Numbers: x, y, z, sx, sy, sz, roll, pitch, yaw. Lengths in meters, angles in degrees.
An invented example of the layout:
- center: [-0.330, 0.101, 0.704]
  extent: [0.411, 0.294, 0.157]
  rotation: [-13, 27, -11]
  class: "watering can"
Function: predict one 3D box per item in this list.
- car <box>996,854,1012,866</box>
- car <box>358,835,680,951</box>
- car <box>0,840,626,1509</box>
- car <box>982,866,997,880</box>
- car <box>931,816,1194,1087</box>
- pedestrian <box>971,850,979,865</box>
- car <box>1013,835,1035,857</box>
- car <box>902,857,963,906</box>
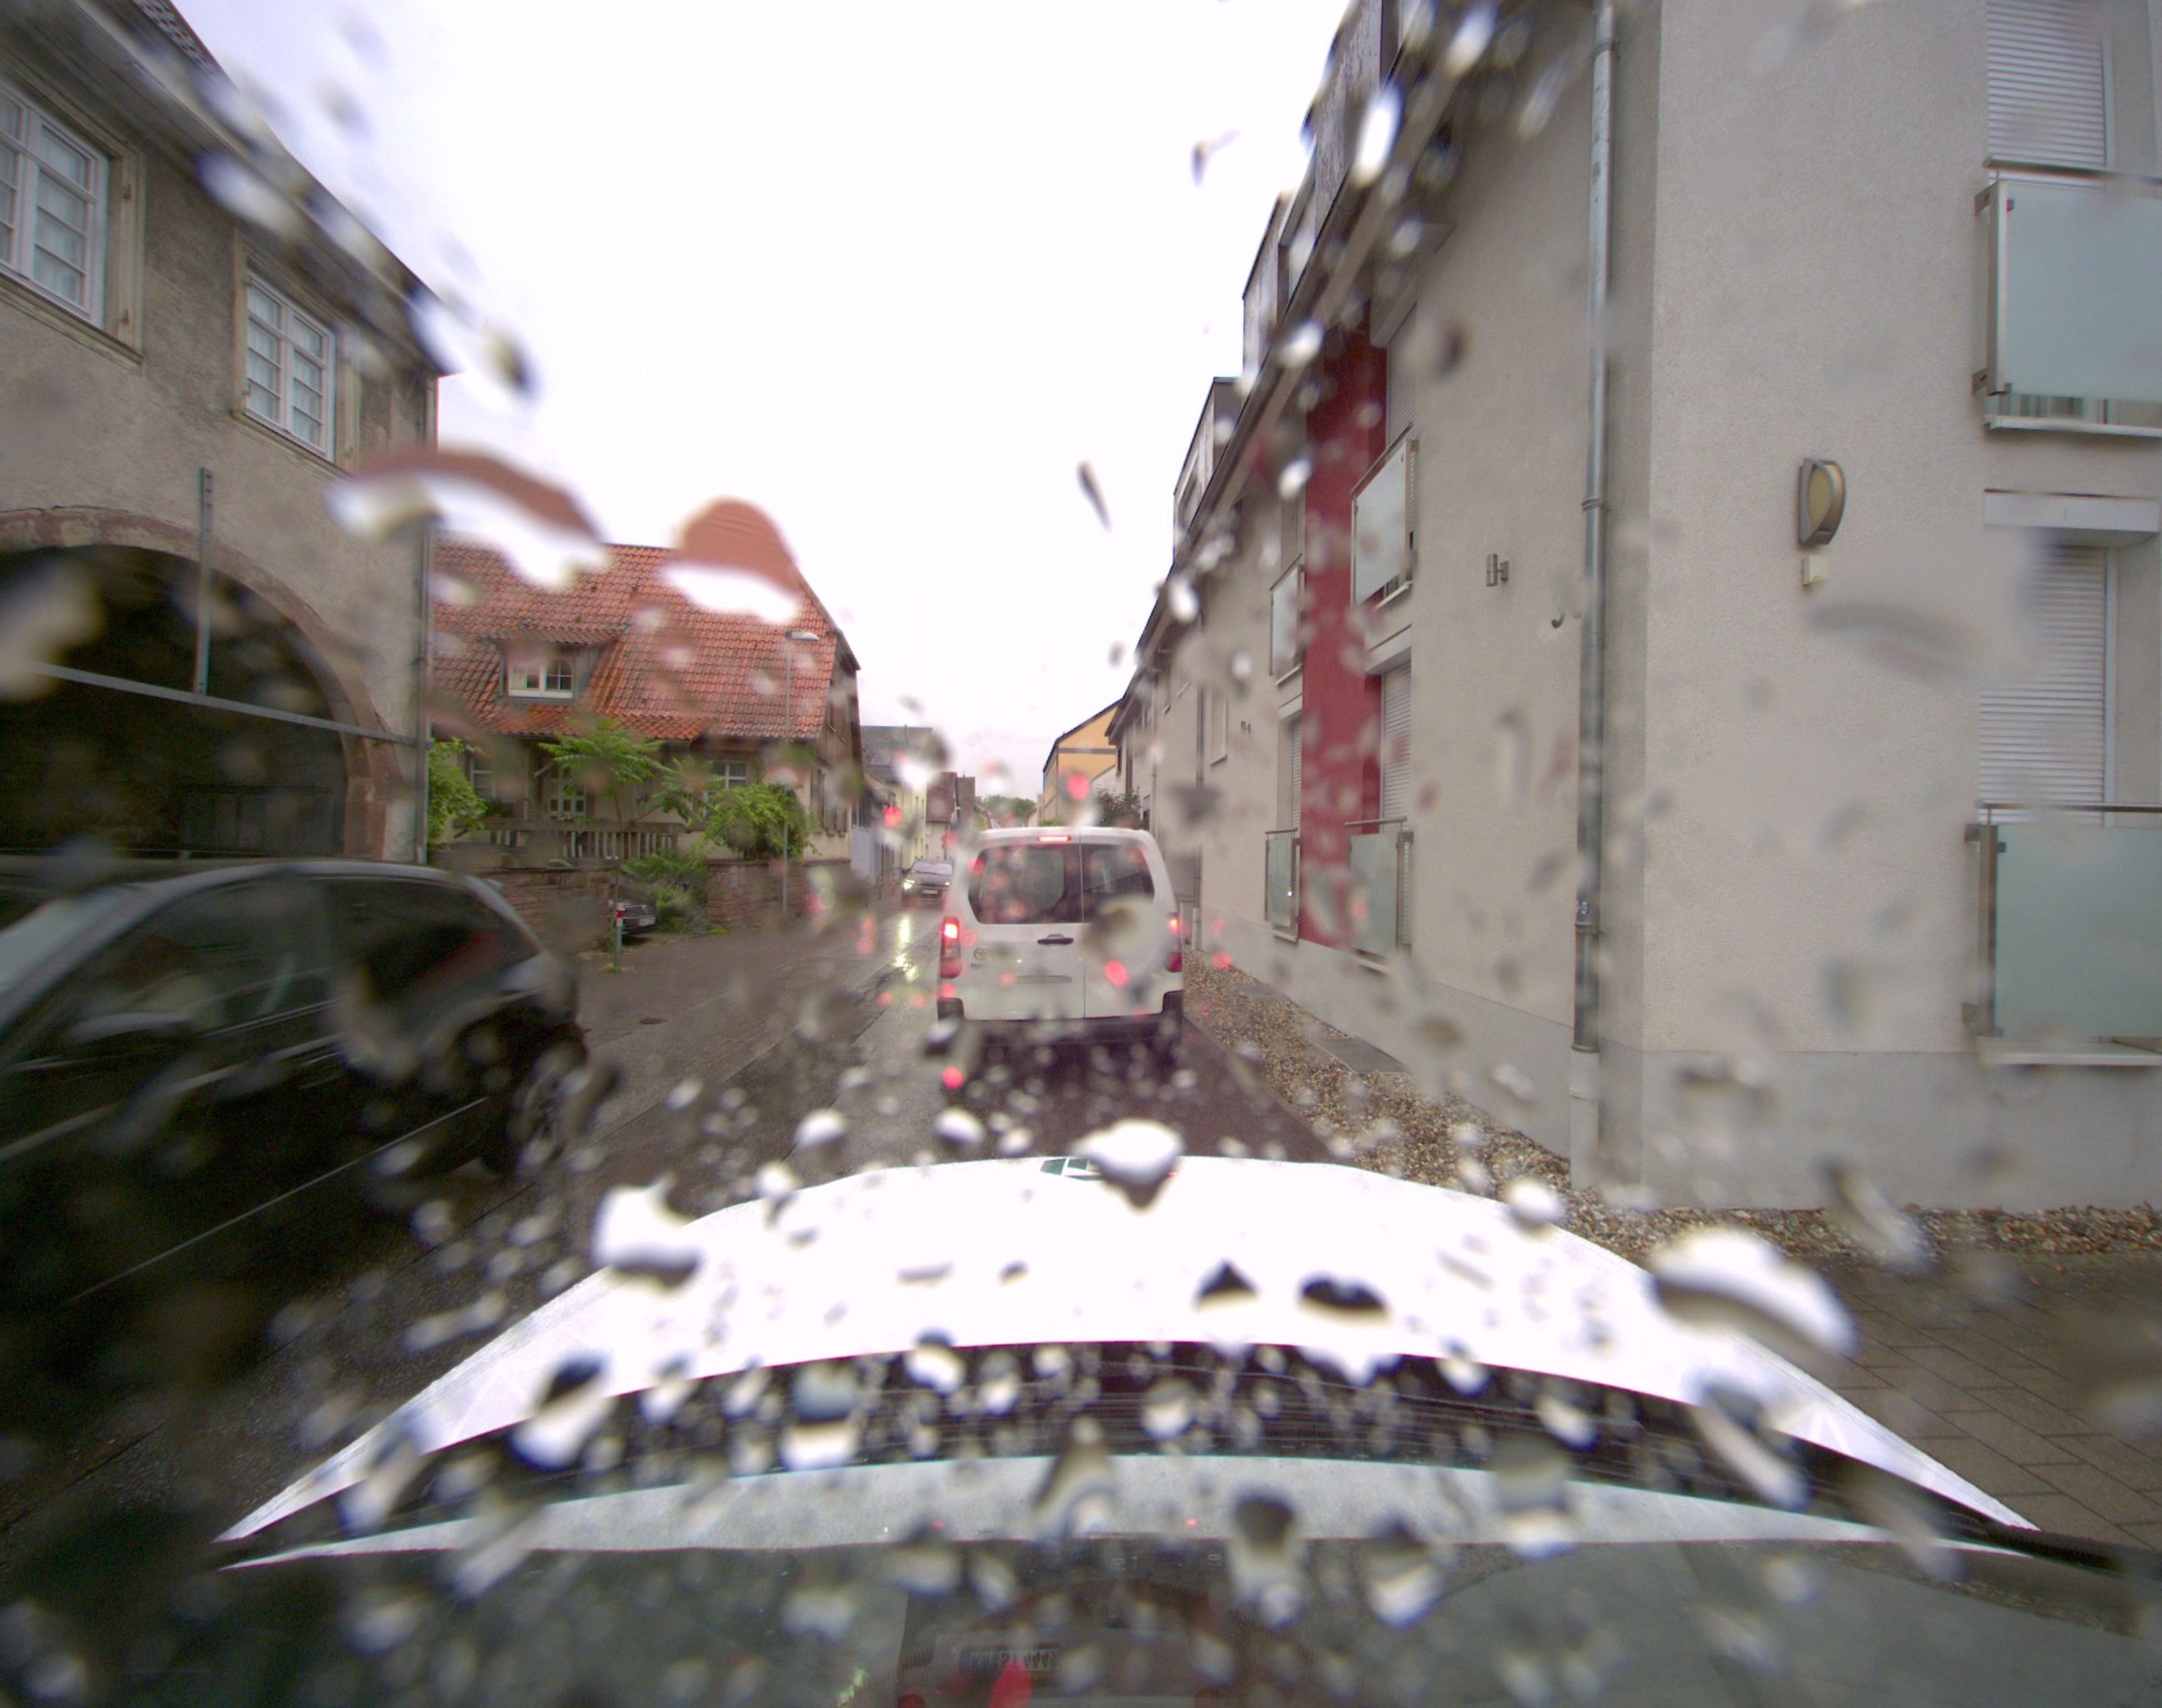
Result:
- center: [-9.426, 0.745, 99.701]
  extent: [1.778, 1.395, 3.989]
  rotation: [0, -1, -7]
  class: "car"
- center: [-9.118, 0.616, 13.452]
  extent: [3.973, 1.425, 1.736]
  rotation: [5, -1, 1]
  class: "car"
- center: [-3.276, 0.716, 2.686]
  extent: [1.601, 1.513, 3.683]
  rotation: [1, 0, -3]
  class: "car"
- center: [-9.977, 2.055, 88.916]
  extent: [1.559, 1.477, 3.990]
  rotation: [0, -1, -7]
  class: "car"
- center: [-0.332, 0.654, 7.471]
  extent: [1.773, 1.780, 3.991]
  rotation: [0, -1, -7]
  class: "car"
- center: [-13.477, 0.500, 103.623]
  extent: [1.049, 1.893, 0.875]
  rotation: [0, -1, -7]
  class: "pedestrian"
- center: [-5.322, -0.701, 76.606]
  extent: [1.989, 2.014, 3.995]
  rotation: [0, -1, -3]
  class: "car"
- center: [-5.099, 0.904, 28.438]
  extent: [1.831, 1.556, 4.228]
  rotation: [1, -1, -7]
  class: "car"
